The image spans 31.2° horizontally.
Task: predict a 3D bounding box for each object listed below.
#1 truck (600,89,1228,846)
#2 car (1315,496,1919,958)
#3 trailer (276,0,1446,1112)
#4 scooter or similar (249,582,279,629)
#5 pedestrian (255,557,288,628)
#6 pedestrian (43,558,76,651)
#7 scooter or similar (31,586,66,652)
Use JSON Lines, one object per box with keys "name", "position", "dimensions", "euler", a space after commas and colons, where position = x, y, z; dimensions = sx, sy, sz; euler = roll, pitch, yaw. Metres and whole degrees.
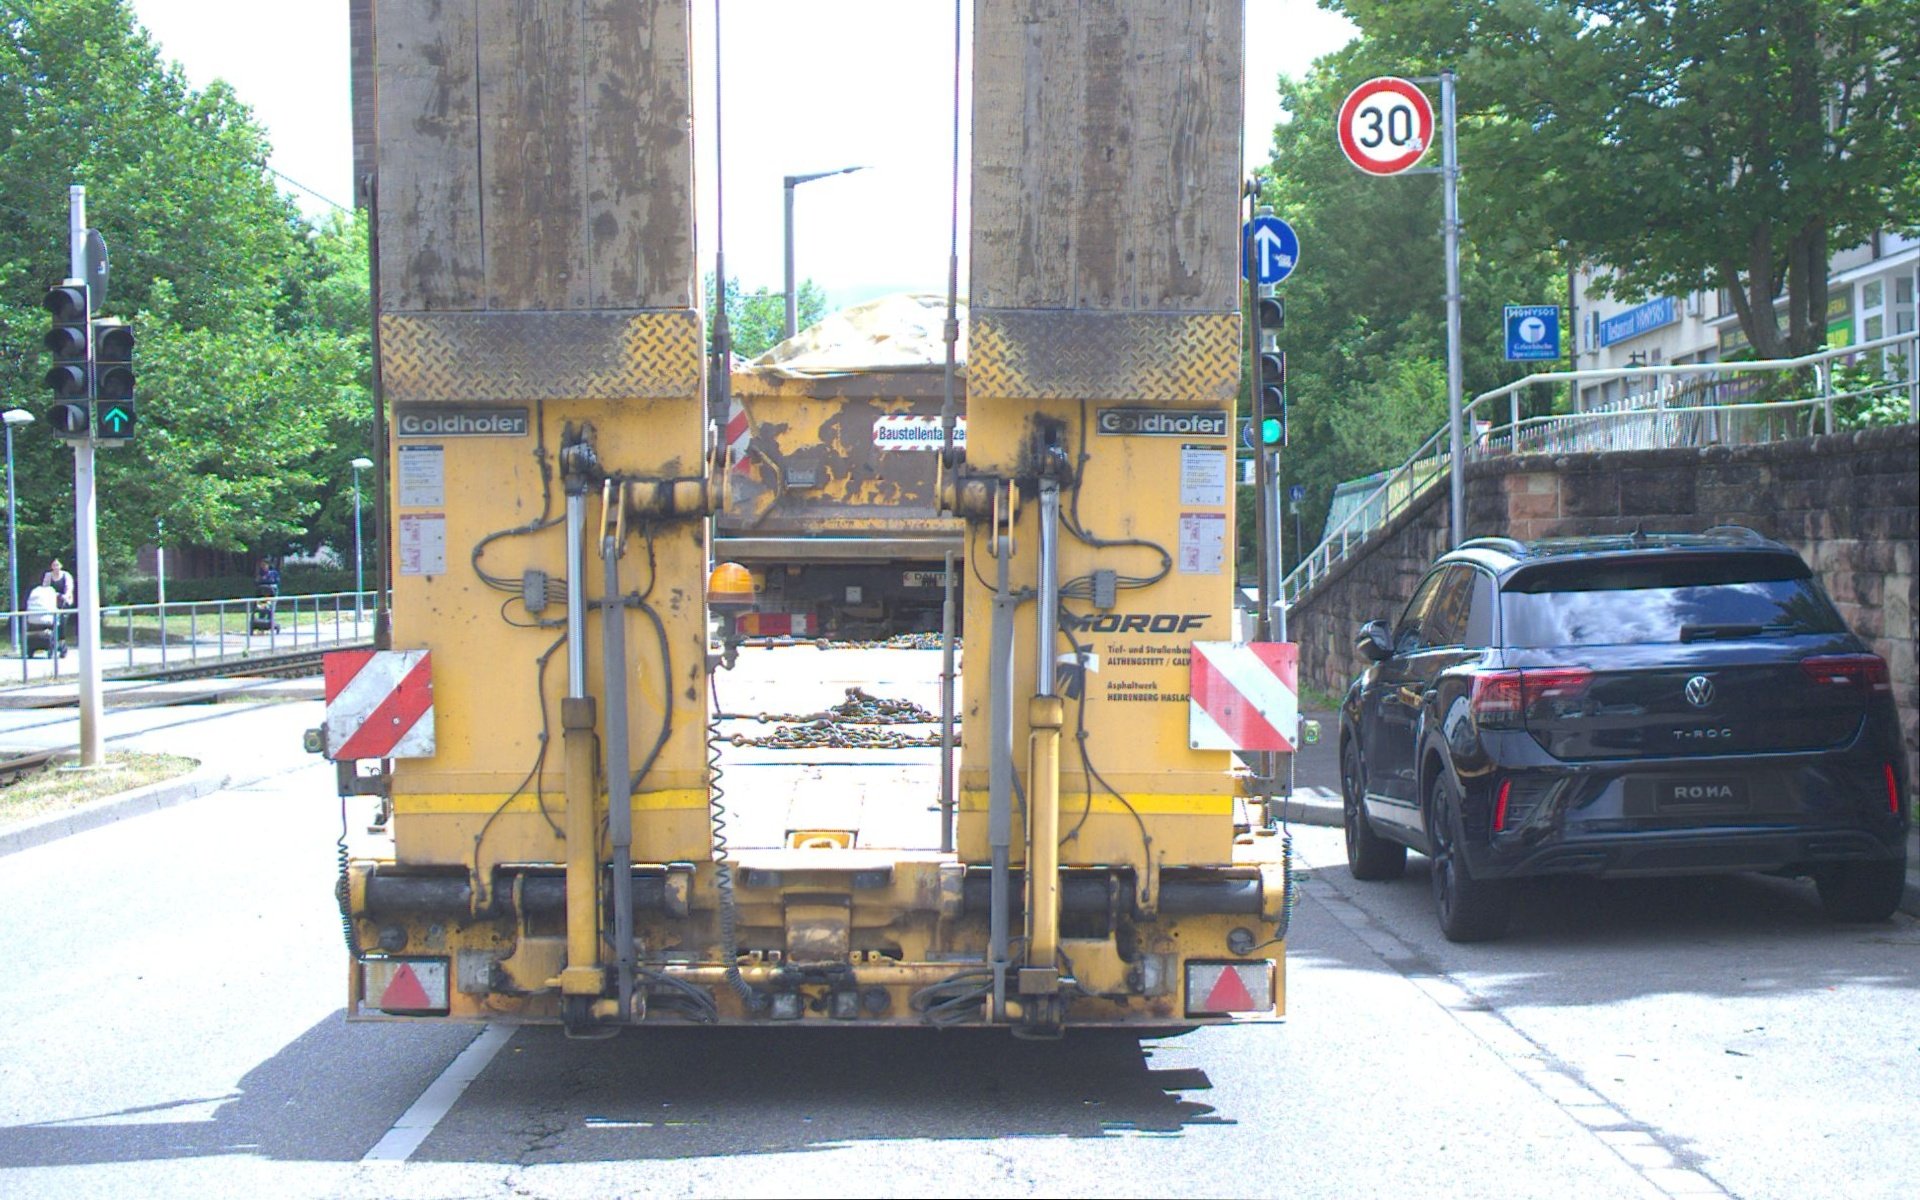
{"name": "truck", "position": [-0.205, -0.661, 18.772], "dimensions": [2.942, 3.560, 4.877], "euler": [-1, 1, 0]}
{"name": "car", "position": [2.662, 0.440, 14.633], "dimensions": [1.851, 1.633, 4.000], "euler": [-2, 1, 0]}
{"name": "trailer", "position": [-0.232, -0.567, 13.087], "dimensions": [2.945, 3.589, 8.684], "euler": [-1, 1, 0]}
{"name": "scooter or similar", "position": [-14.733, 0.111, 72.812], "dimensions": [0.505, 0.968, 0.646], "euler": [1, 1, -1]}
{"name": "pedestrian", "position": [-14.719, -0.160, 73.463], "dimensions": [0.563, 1.508, 0.646], "euler": [1, 1, -1]}
{"name": "pedestrian", "position": [-14.828, 0.071, 56.625], "dimensions": [0.348, 1.532, 0.557], "euler": [-1, 0, 3]}
{"name": "scooter or similar", "position": [-14.852, 0.302, 56.000], "dimensions": [0.338, 1.054, 0.687], "euler": [-1, 1, 3]}
